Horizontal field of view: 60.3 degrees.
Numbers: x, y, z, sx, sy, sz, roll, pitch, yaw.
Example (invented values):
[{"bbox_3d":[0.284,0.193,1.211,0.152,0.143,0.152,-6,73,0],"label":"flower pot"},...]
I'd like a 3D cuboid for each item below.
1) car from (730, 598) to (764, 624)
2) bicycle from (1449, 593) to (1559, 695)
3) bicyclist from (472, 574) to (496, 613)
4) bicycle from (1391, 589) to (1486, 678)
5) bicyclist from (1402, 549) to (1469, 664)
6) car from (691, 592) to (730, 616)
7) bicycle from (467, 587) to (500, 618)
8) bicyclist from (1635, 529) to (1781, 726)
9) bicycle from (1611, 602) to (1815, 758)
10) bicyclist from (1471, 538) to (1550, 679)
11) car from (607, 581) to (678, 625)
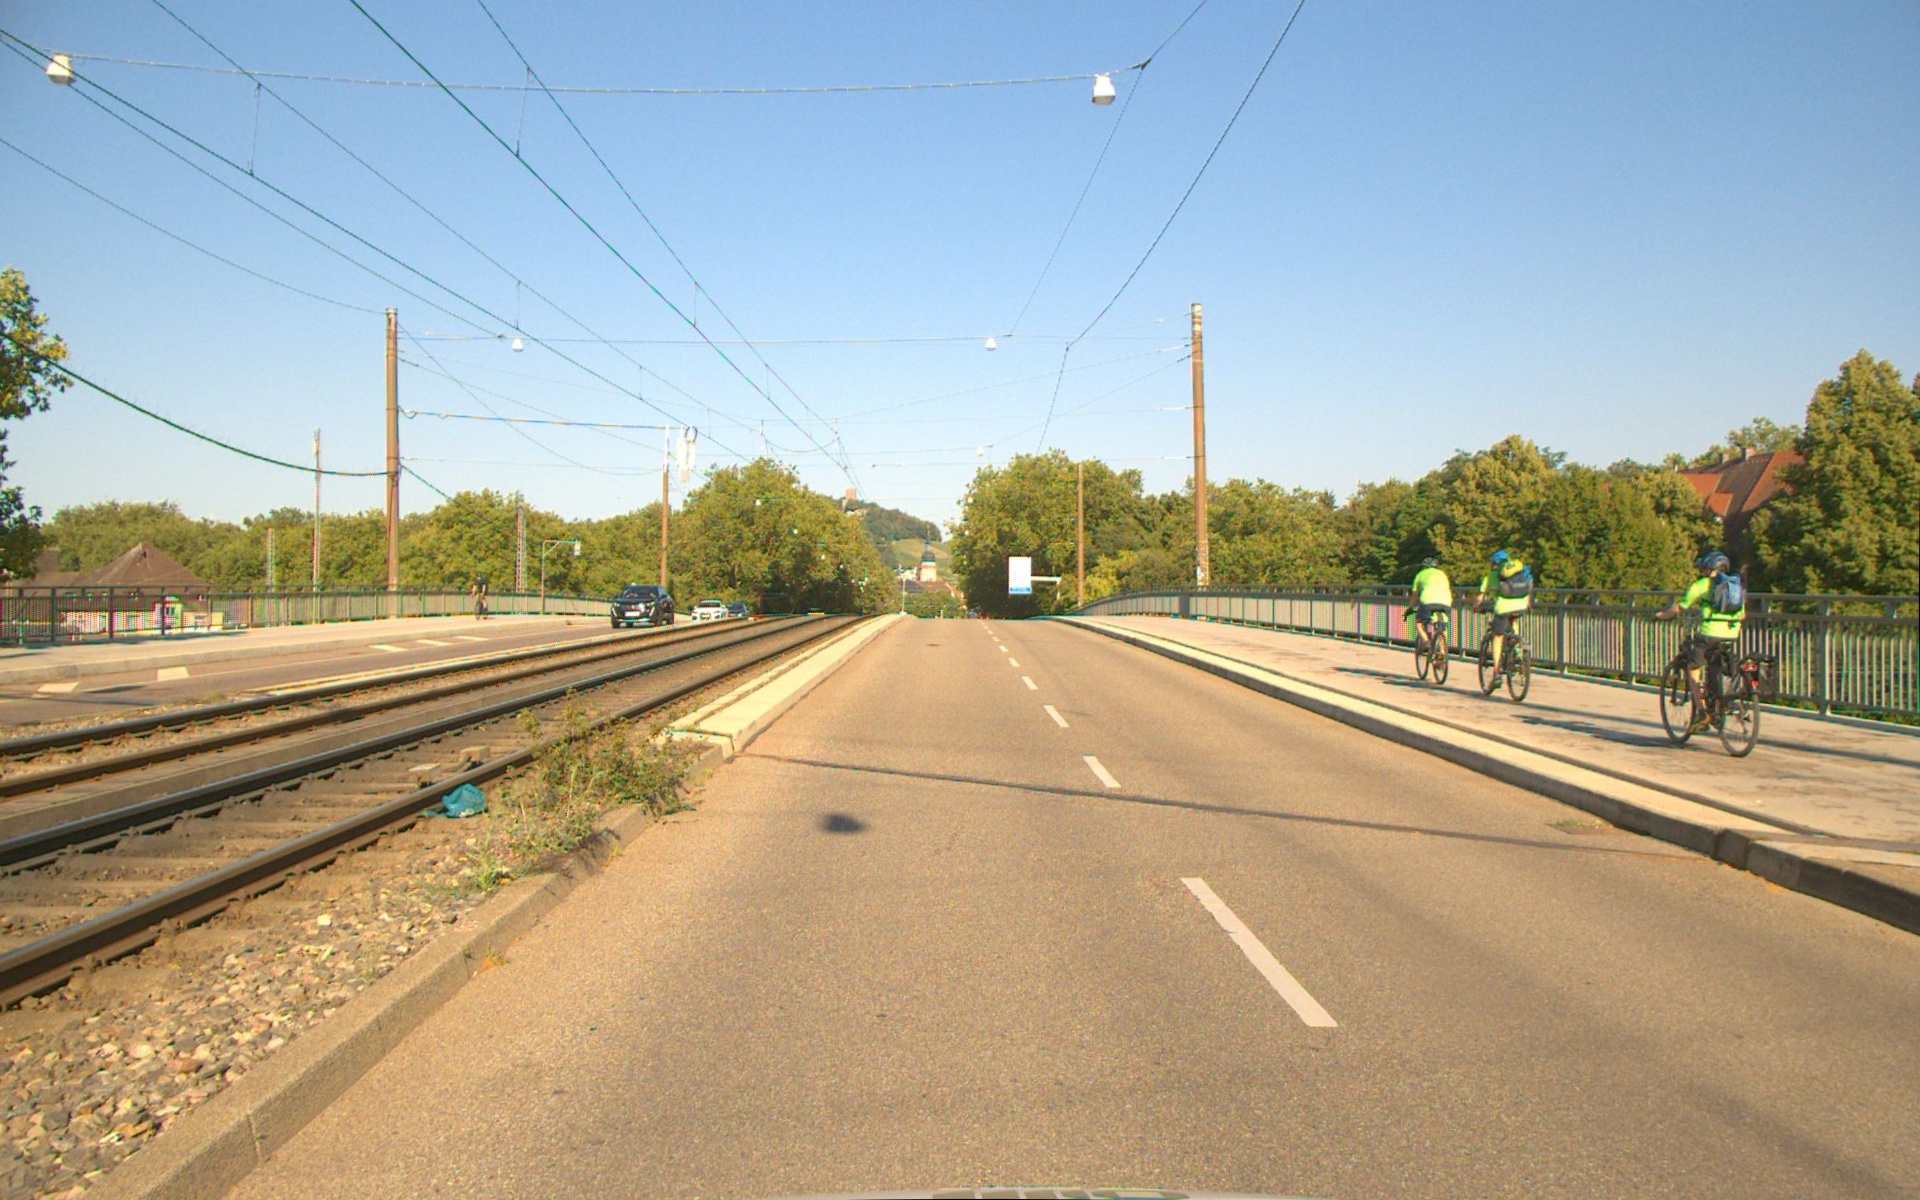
[{"bbox_3d":[-14.413,0.738,112.042,1.743,1.679,4.446,0,0,-1],"label":"car"},{"bbox_3d":[6.434,0.500,19.650,0.612,1.142,2.041,0,0,-1],"label":"bicycle"},{"bbox_3d":[-17.906,-0.230,62.246,0.612,1.457,0.968,0,0,-1],"label":"bicyclist"},{"bbox_3d":[6.494,0.428,22.573,0.612,1.142,2.259,0,0,-1],"label":"bicycle"},{"bbox_3d":[6.495,0.081,22.618,0.612,1.534,1.006,0,0,-1],"label":"bicyclist"},{"bbox_3d":[-15.133,0.231,100.333,1.649,1.380,4.919,0,0,-1],"label":"car"},{"bbox_3d":[-17.908,0.100,62.214,0.612,1.142,2.259,0,0,-1],"label":"bicycle"},{"bbox_3d":[6.226,0.212,13.817,0.795,1.589,0.896,0,1,-1],"label":"bicyclist"},{"bbox_3d":[6.233,0.618,13.841,0.669,1.142,2.216,0,1,-1],"label":"bicycle"},{"bbox_3d":[6.473,0.095,19.468,0.612,1.620,0.930,0,0,-1],"label":"bicyclist"},{"bbox_3d":[-11.514,0.098,60.271,1.811,1.528,4.218,0,0,-1],"label":"car"}]
